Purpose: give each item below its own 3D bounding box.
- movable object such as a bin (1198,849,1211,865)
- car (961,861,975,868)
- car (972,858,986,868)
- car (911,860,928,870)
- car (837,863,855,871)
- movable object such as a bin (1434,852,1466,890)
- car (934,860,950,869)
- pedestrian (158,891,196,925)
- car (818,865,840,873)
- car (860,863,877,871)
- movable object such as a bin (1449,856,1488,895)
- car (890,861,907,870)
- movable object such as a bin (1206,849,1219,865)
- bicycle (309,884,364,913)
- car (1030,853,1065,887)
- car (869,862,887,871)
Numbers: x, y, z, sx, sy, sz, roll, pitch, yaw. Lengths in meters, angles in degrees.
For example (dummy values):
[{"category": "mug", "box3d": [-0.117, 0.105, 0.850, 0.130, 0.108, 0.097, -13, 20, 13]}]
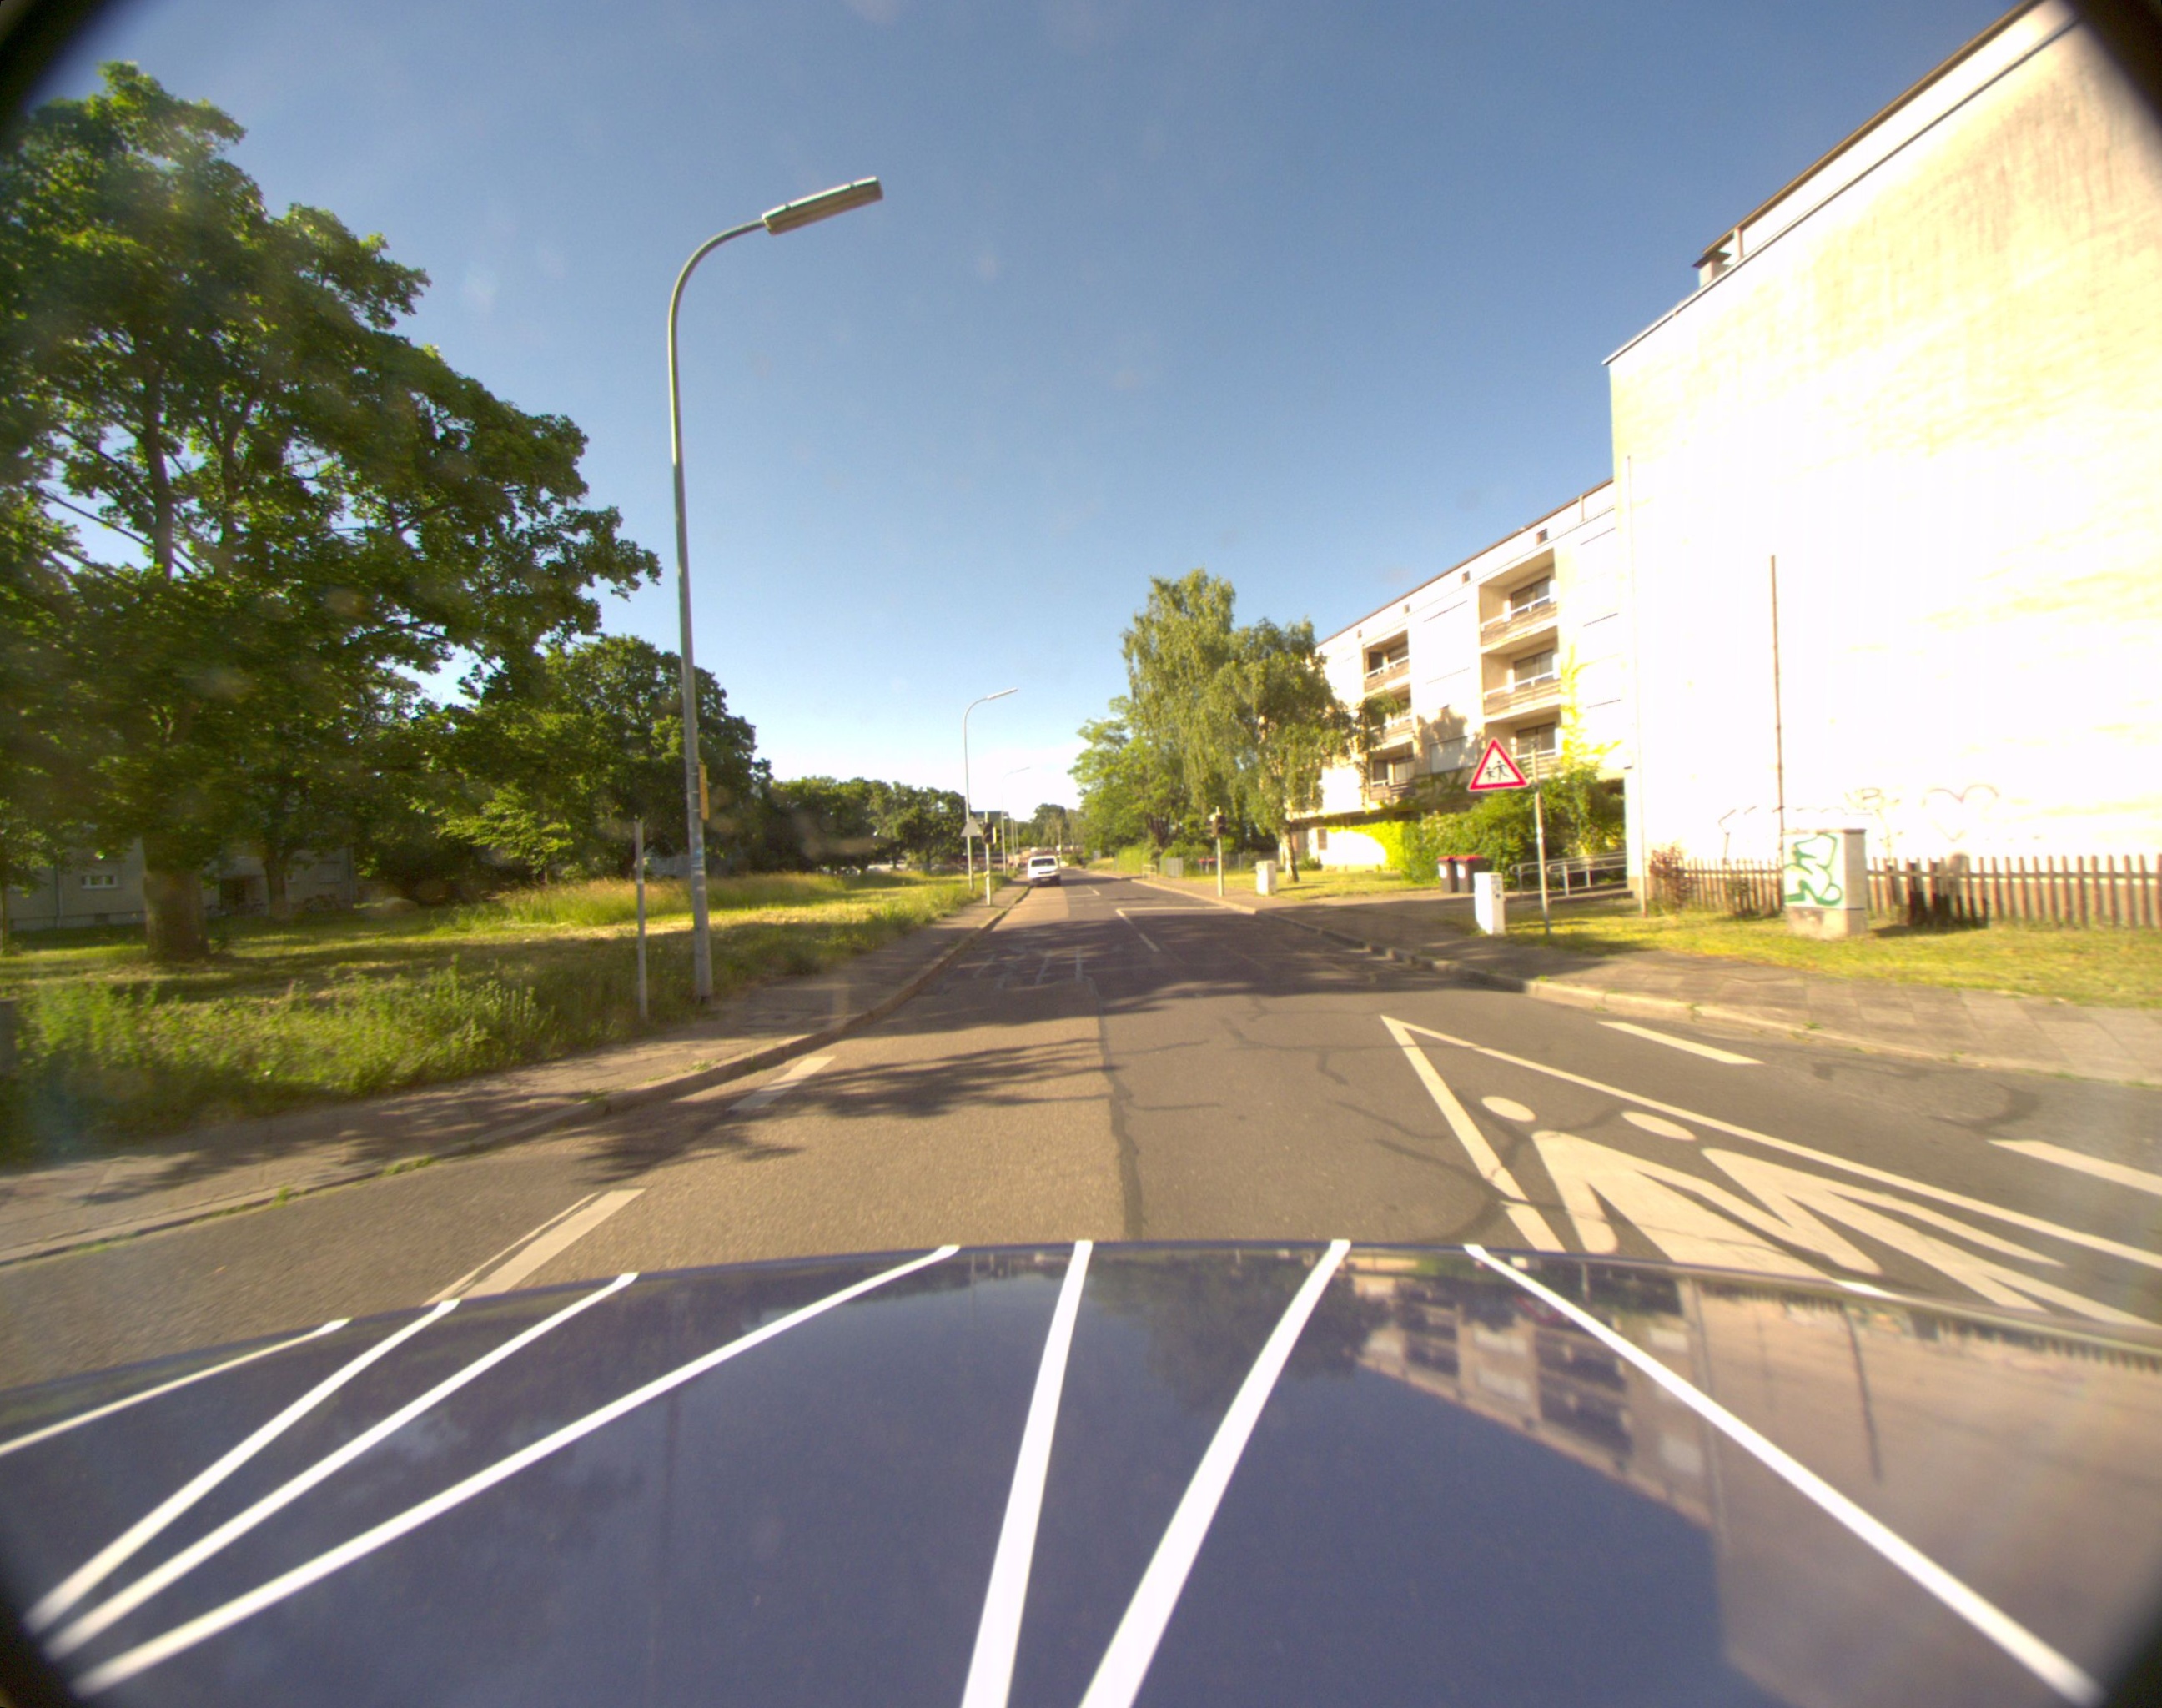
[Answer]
[{"category": "movable object such as a bin", "box3d": [8.135, 0.216, 50.036, 0.623, 1.018, 0.710, -2, 0, -7]}, {"category": "car", "box3d": [-22.911, 2.079, 153.979, 1.779, 1.316, 4.002, -2, 0, 7]}, {"category": "car", "box3d": [-20.541, 1.779, 153.783, 1.955, 1.849, 4.001, -2, 0, 4]}, {"category": "car", "box3d": [-33.167, 2.255, 156.073, 1.954, 1.763, 4.003, -2, 0, 10]}, {"category": "car", "box3d": [-49.554, 2.797, 159.970, 1.954, 1.552, 4.003, -2, 0, 10]}, {"category": "movable object such as a bin", "box3d": [10.717, 0.485, 22.075, 0.565, 1.047, 0.556, -3, 1, -22]}, {"category": "car", "box3d": [-28.228, 2.087, 154.477, 1.859, 1.763, 4.003, -2, 0, 10]}, {"category": "pedestrian", "box3d": [-40.359, 2.401, 33.934, 0.757, 1.448, 0.767, -2, 1, -14]}, {"category": "car", "box3d": [-49.398, 2.998, 148.890, 3.633, 1.442, 2.002, -2, 0, 13]}, {"category": "car", "box3d": [-44.354, 2.646, 158.673, 1.954, 1.552, 4.003, -2, 0, 10]}, {"category": "movable object such as a bin", "box3d": [10.949, 0.605, 21.476, 0.629, 1.042, 0.701, -3, 1, -23]}, {"category": "car", "box3d": [-37.763, 2.375, 157.375, 1.954, 1.763, 4.002, -2, 2, 10]}, {"category": "movable object such as a bin", "box3d": [8.647, 0.205, 50.119, 0.623, 1.018, 0.710, -2, 0, -7]}, {"category": "bicycle", "box3d": [-43.797, 2.600, 44.746, 0.782, 1.516, 2.753, -2, 1, -9]}, {"category": "car", "box3d": [-2.080, 0.946, 47.009, 1.921, 1.860, 4.864, -4, 0, -3]}, {"category": "car", "box3d": [-42.228, 2.591, 158.209, 1.954, 1.552, 4.003, -2, 0, 10]}]
